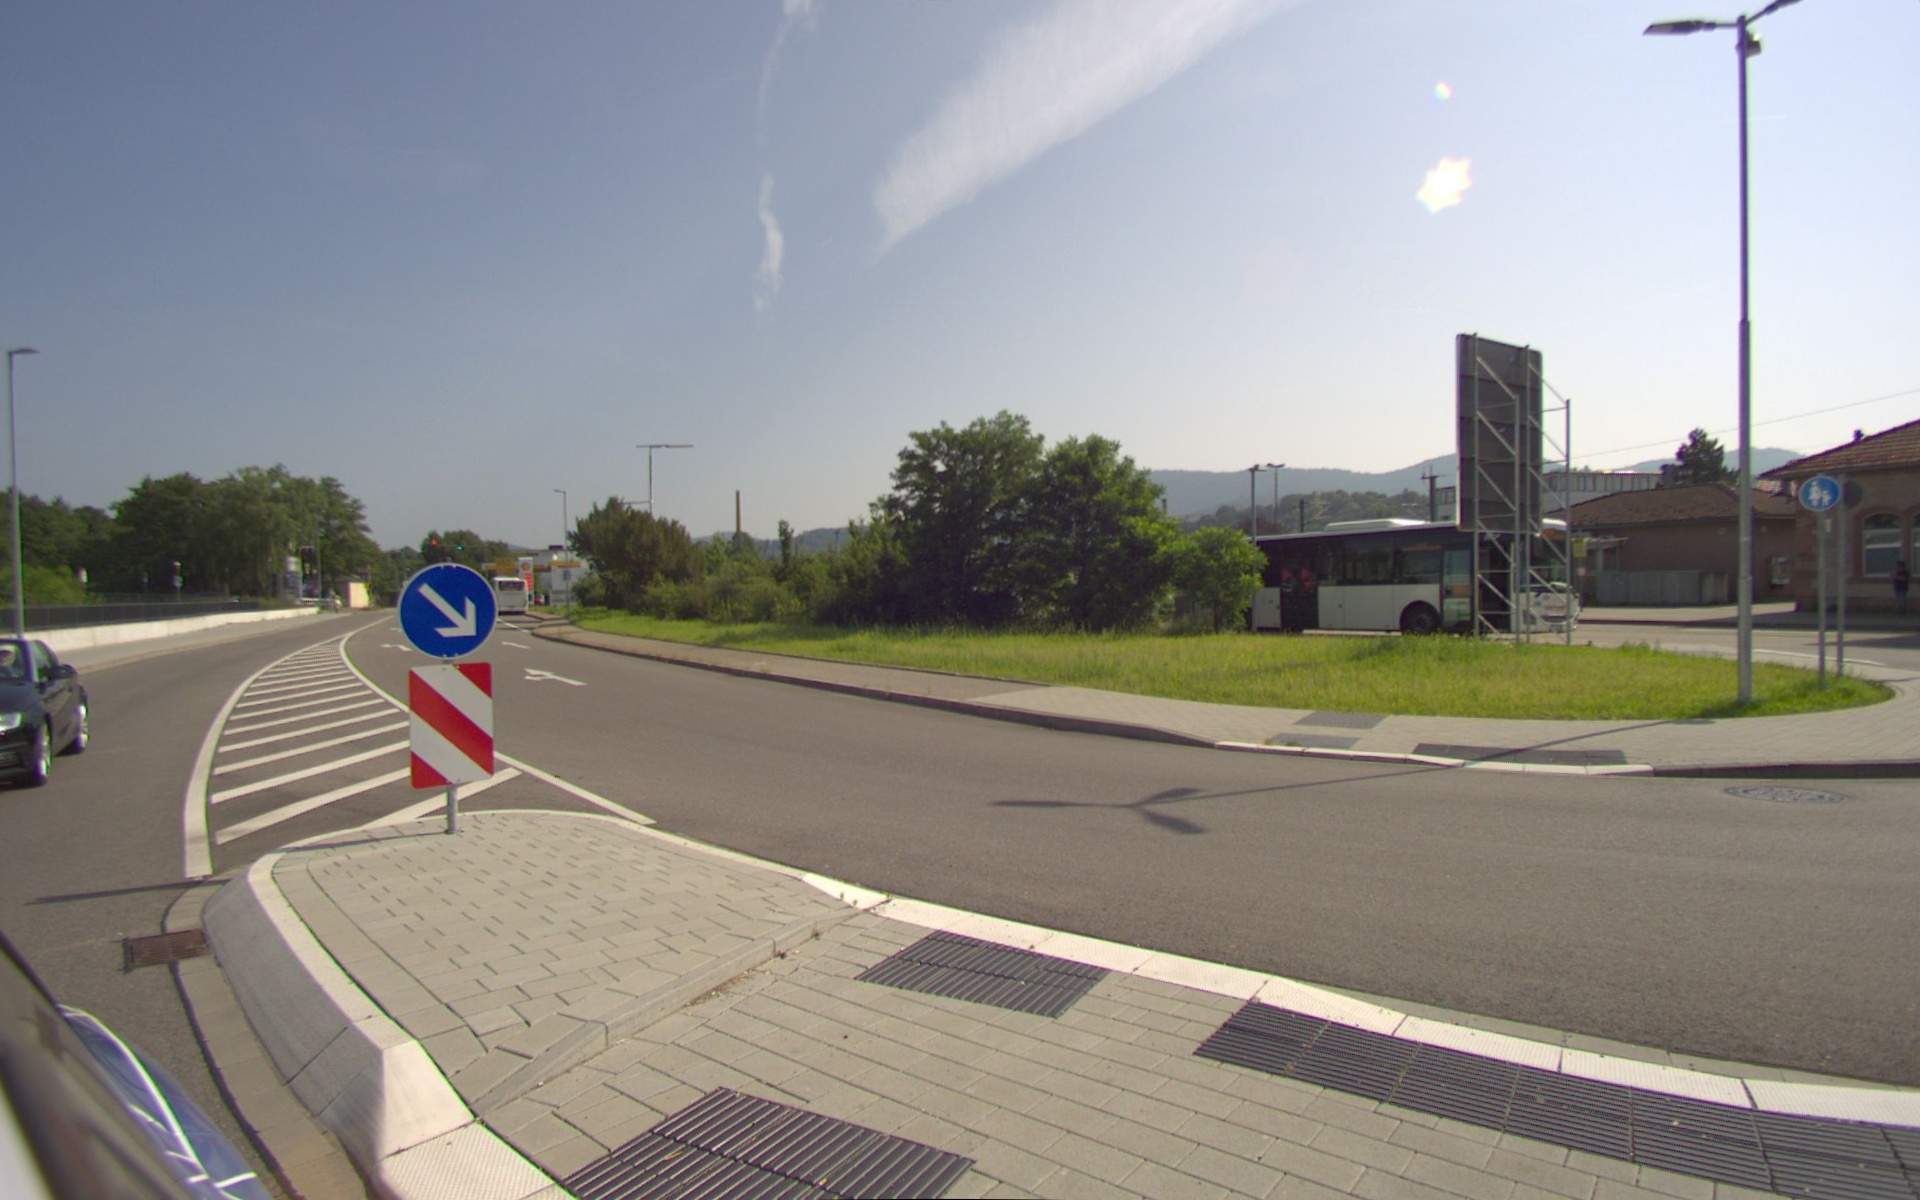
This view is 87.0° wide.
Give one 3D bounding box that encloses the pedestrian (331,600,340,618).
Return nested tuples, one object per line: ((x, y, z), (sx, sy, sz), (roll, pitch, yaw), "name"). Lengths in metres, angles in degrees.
((-57.428, 0.838, 93.067), (0.701, 1.684, 0.595), (0, 0, -34), "pedestrian")

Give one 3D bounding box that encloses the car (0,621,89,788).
((-9.741, 0.910, 9.587), (1.839, 1.340, 4.242), (-1, 0, -35), "car")

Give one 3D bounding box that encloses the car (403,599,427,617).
((-48.653, 0.694, 90.391), (1.747, 1.484, 4.233), (0, 0, -27), "car")

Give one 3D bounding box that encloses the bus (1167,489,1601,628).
((11.137, -0.915, 28.742), (3.022, 3.147, 11.755), (-1, 0, -31), "bus")

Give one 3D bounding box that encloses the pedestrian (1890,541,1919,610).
((28.018, -0.718, 29.913), (0.522, 2.029, 0.578), (0, 0, -6), "pedestrian")

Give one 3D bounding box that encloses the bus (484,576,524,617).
((-40.079, -0.303, 88.736), (2.584, 3.335, 11.996), (0, 0, -27), "bus")
